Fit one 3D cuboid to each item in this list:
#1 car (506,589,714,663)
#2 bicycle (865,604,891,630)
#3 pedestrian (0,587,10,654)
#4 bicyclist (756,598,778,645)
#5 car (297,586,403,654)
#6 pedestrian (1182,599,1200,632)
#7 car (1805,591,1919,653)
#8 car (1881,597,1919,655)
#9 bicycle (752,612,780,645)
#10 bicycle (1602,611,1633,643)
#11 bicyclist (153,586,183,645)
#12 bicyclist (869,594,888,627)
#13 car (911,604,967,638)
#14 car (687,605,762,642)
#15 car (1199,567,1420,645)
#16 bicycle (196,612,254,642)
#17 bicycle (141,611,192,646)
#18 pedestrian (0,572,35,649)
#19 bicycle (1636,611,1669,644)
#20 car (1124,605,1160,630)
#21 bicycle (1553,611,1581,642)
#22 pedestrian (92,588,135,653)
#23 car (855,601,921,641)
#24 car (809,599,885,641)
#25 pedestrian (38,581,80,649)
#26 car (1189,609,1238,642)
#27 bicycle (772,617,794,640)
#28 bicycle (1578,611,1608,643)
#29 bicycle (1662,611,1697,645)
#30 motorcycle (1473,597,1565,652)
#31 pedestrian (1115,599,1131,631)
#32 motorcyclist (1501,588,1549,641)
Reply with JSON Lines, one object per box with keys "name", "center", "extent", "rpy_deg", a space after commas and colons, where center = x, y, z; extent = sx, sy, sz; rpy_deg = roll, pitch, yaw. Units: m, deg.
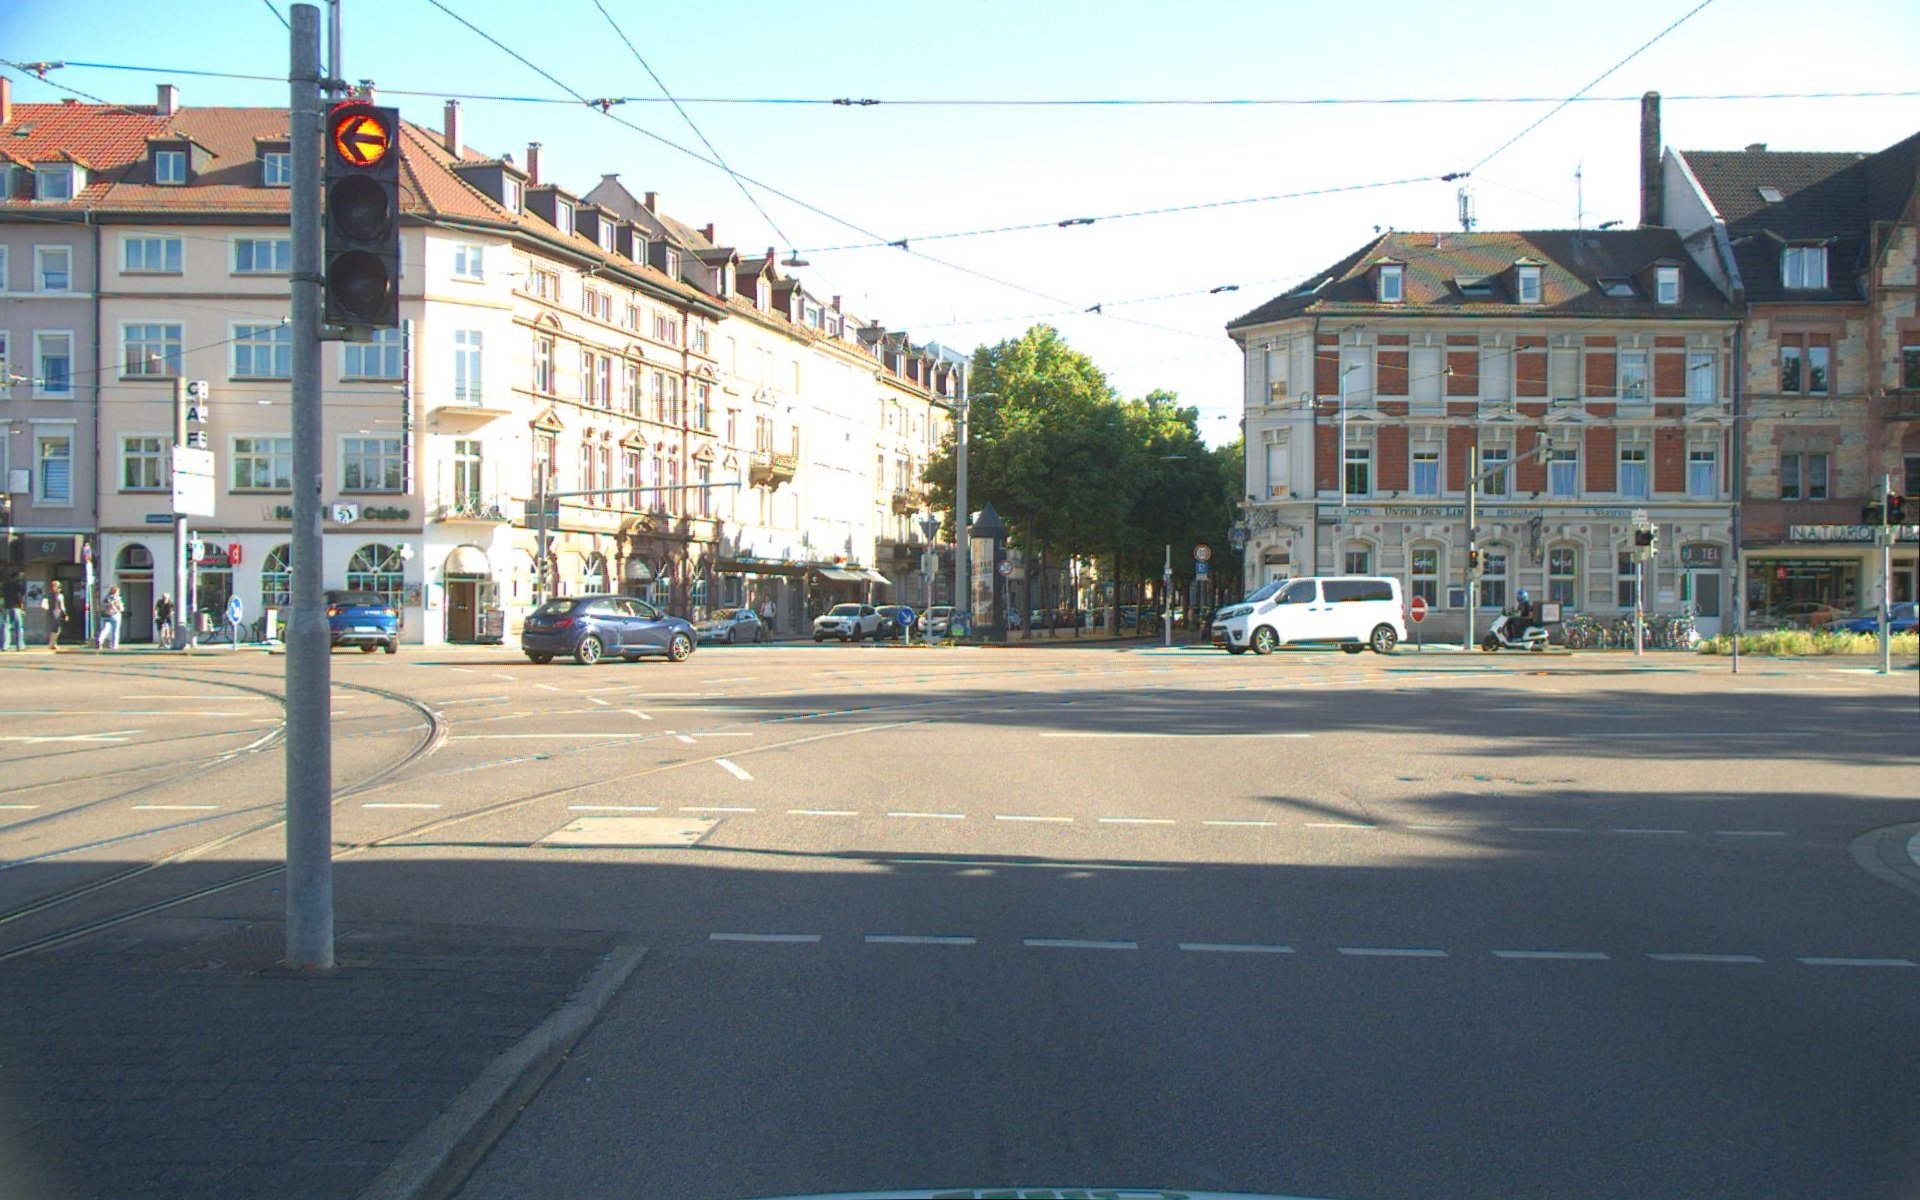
{"name": "car", "center": [-7.132, 0.495, 34.031], "extent": [1.797, 1.428, 3.981], "rpy_deg": [0, 0, 38]}
{"name": "bicycle", "center": [-3.948, 0.839, 80.056], "extent": [0.659, 1.228, 1.822], "rpy_deg": [1, 0, 17]}
{"name": "pedestrian", "center": [-24.340, 0.508, 41.510], "extent": [0.561, 1.677, 0.727], "rpy_deg": [1, -1, -1]}
{"name": "bicyclist", "center": [-7.561, 0.830, 64.919], "extent": [0.553, 1.835, 0.915], "rpy_deg": [1, -1, 14]}
{"name": "car", "center": [-15.303, 0.463, 41.365], "extent": [1.806, 1.602, 4.156], "rpy_deg": [0, 0, -30]}
{"name": "pedestrian", "center": [14.386, 0.981, 103.103], "extent": [0.941, 2.049, 0.918], "rpy_deg": [1, -1, 0]}
{"name": "car", "center": [25.923, 0.629, 46.009], "extent": [3.905, 1.650, 1.804], "rpy_deg": [1, 0, 0]}
{"name": "car", "center": [26.139, 0.667, 42.761], "extent": [3.790, 1.451, 1.595], "rpy_deg": [1, 1, -1]}
{"name": "bicycle", "center": [-7.585, 1.100, 64.800], "extent": [0.553, 1.276, 1.558], "rpy_deg": [1, 0, 14]}
{"name": "bicycle", "center": [21.377, 0.878, 53.786], "extent": [0.749, 1.001, 2.211], "rpy_deg": [1, 0, 17]}
{"name": "bicyclist", "center": [-24.767, 0.483, 51.721], "extent": [0.608, 1.822, 0.615], "rpy_deg": [1, -1, 4]}
{"name": "bicyclist", "center": [-3.943, 0.504, 80.061], "extent": [0.659, 1.595, 0.748], "rpy_deg": [1, -1, 17]}
{"name": "car", "center": [-0.997, 1.022, 81.302], "extent": [1.764, 1.603, 3.893], "rpy_deg": [1, 0, 15]}
{"name": "car", "center": [-9.467, 0.939, 66.823], "extent": [1.624, 1.398, 3.894], "rpy_deg": [1, 0, 14]}
{"name": "car", "center": [8.771, 0.154, 41.641], "extent": [5.107, 1.886, 1.994], "rpy_deg": [0, 0, -12]}
{"name": "bicycle", "center": [-25.091, 0.913, 56.491], "extent": [1.666, 1.000, 0.611], "rpy_deg": [1, 0, -1]}
{"name": "bicycle", "center": [-24.780, 0.885, 51.685], "extent": [0.608, 1.048, 1.755], "rpy_deg": [1, 0, 4]}
{"name": "pedestrian", "center": [-22.870, 0.247, 40.082], "extent": [0.516, 1.854, 0.676], "rpy_deg": [1, -1, -1]}
{"name": "bicycle", "center": [22.453, 0.884, 53.651], "extent": [0.749, 1.025, 2.221], "rpy_deg": [1, 0, 17]}
{"name": "car", "center": [12.843, 1.225, 116.346], "extent": [1.951, 1.713, 4.003], "rpy_deg": [1, 0, 15]}
{"name": "bicycle", "center": [19.812, 0.852, 54.015], "extent": [0.749, 0.979, 2.211], "rpy_deg": [1, 0, 17]}
{"name": "pedestrian", "center": [-21.339, 0.508, 41.706], "extent": [0.655, 1.622, 0.815], "rpy_deg": [1, -1, -1]}
{"name": "car", "center": [-3.183, 0.927, 73.533], "extent": [1.786, 1.715, 3.877], "rpy_deg": [1, 0, 16]}
{"name": "car", "center": [-4.546, 0.803, 67.177], "extent": [1.764, 1.613, 4.162], "rpy_deg": [1, 0, 16]}
{"name": "pedestrian", "center": [-22.788, 0.378, 41.855], "extent": [0.571, 1.677, 0.840], "rpy_deg": [1, -1, -1]}
{"name": "car", "center": [12.710, 1.261, 82.815], "extent": [1.719, 1.583, 4.001], "rpy_deg": [1, 0, 20]}
{"name": "bicycle", "center": [-7.405, 1.205, 69.237], "extent": [0.462, 0.938, 1.453], "rpy_deg": [1, 0, 14]}
{"name": "bicycle", "center": [20.566, 0.864, 53.778], "extent": [0.749, 0.985, 2.211], "rpy_deg": [1, 0, 17]}
{"name": "bicycle", "center": [23.272, 0.896, 53.516], "extent": [0.775, 1.033, 2.211], "rpy_deg": [1, 0, 17]}
{"name": "motorcycle", "center": [14.322, 0.620, 42.419], "extent": [2.090, 1.357, 0.797], "rpy_deg": [1, 0, 4]}
{"name": "pedestrian", "center": [10.689, 0.972, 108.617], "extent": [0.923, 2.049, 0.827], "rpy_deg": [1, -1, 14]}
{"name": "motorcyclist", "center": [14.487, 0.366, 42.413], "extent": [0.993, 1.323, 0.789], "rpy_deg": [1, 0, 4]}
